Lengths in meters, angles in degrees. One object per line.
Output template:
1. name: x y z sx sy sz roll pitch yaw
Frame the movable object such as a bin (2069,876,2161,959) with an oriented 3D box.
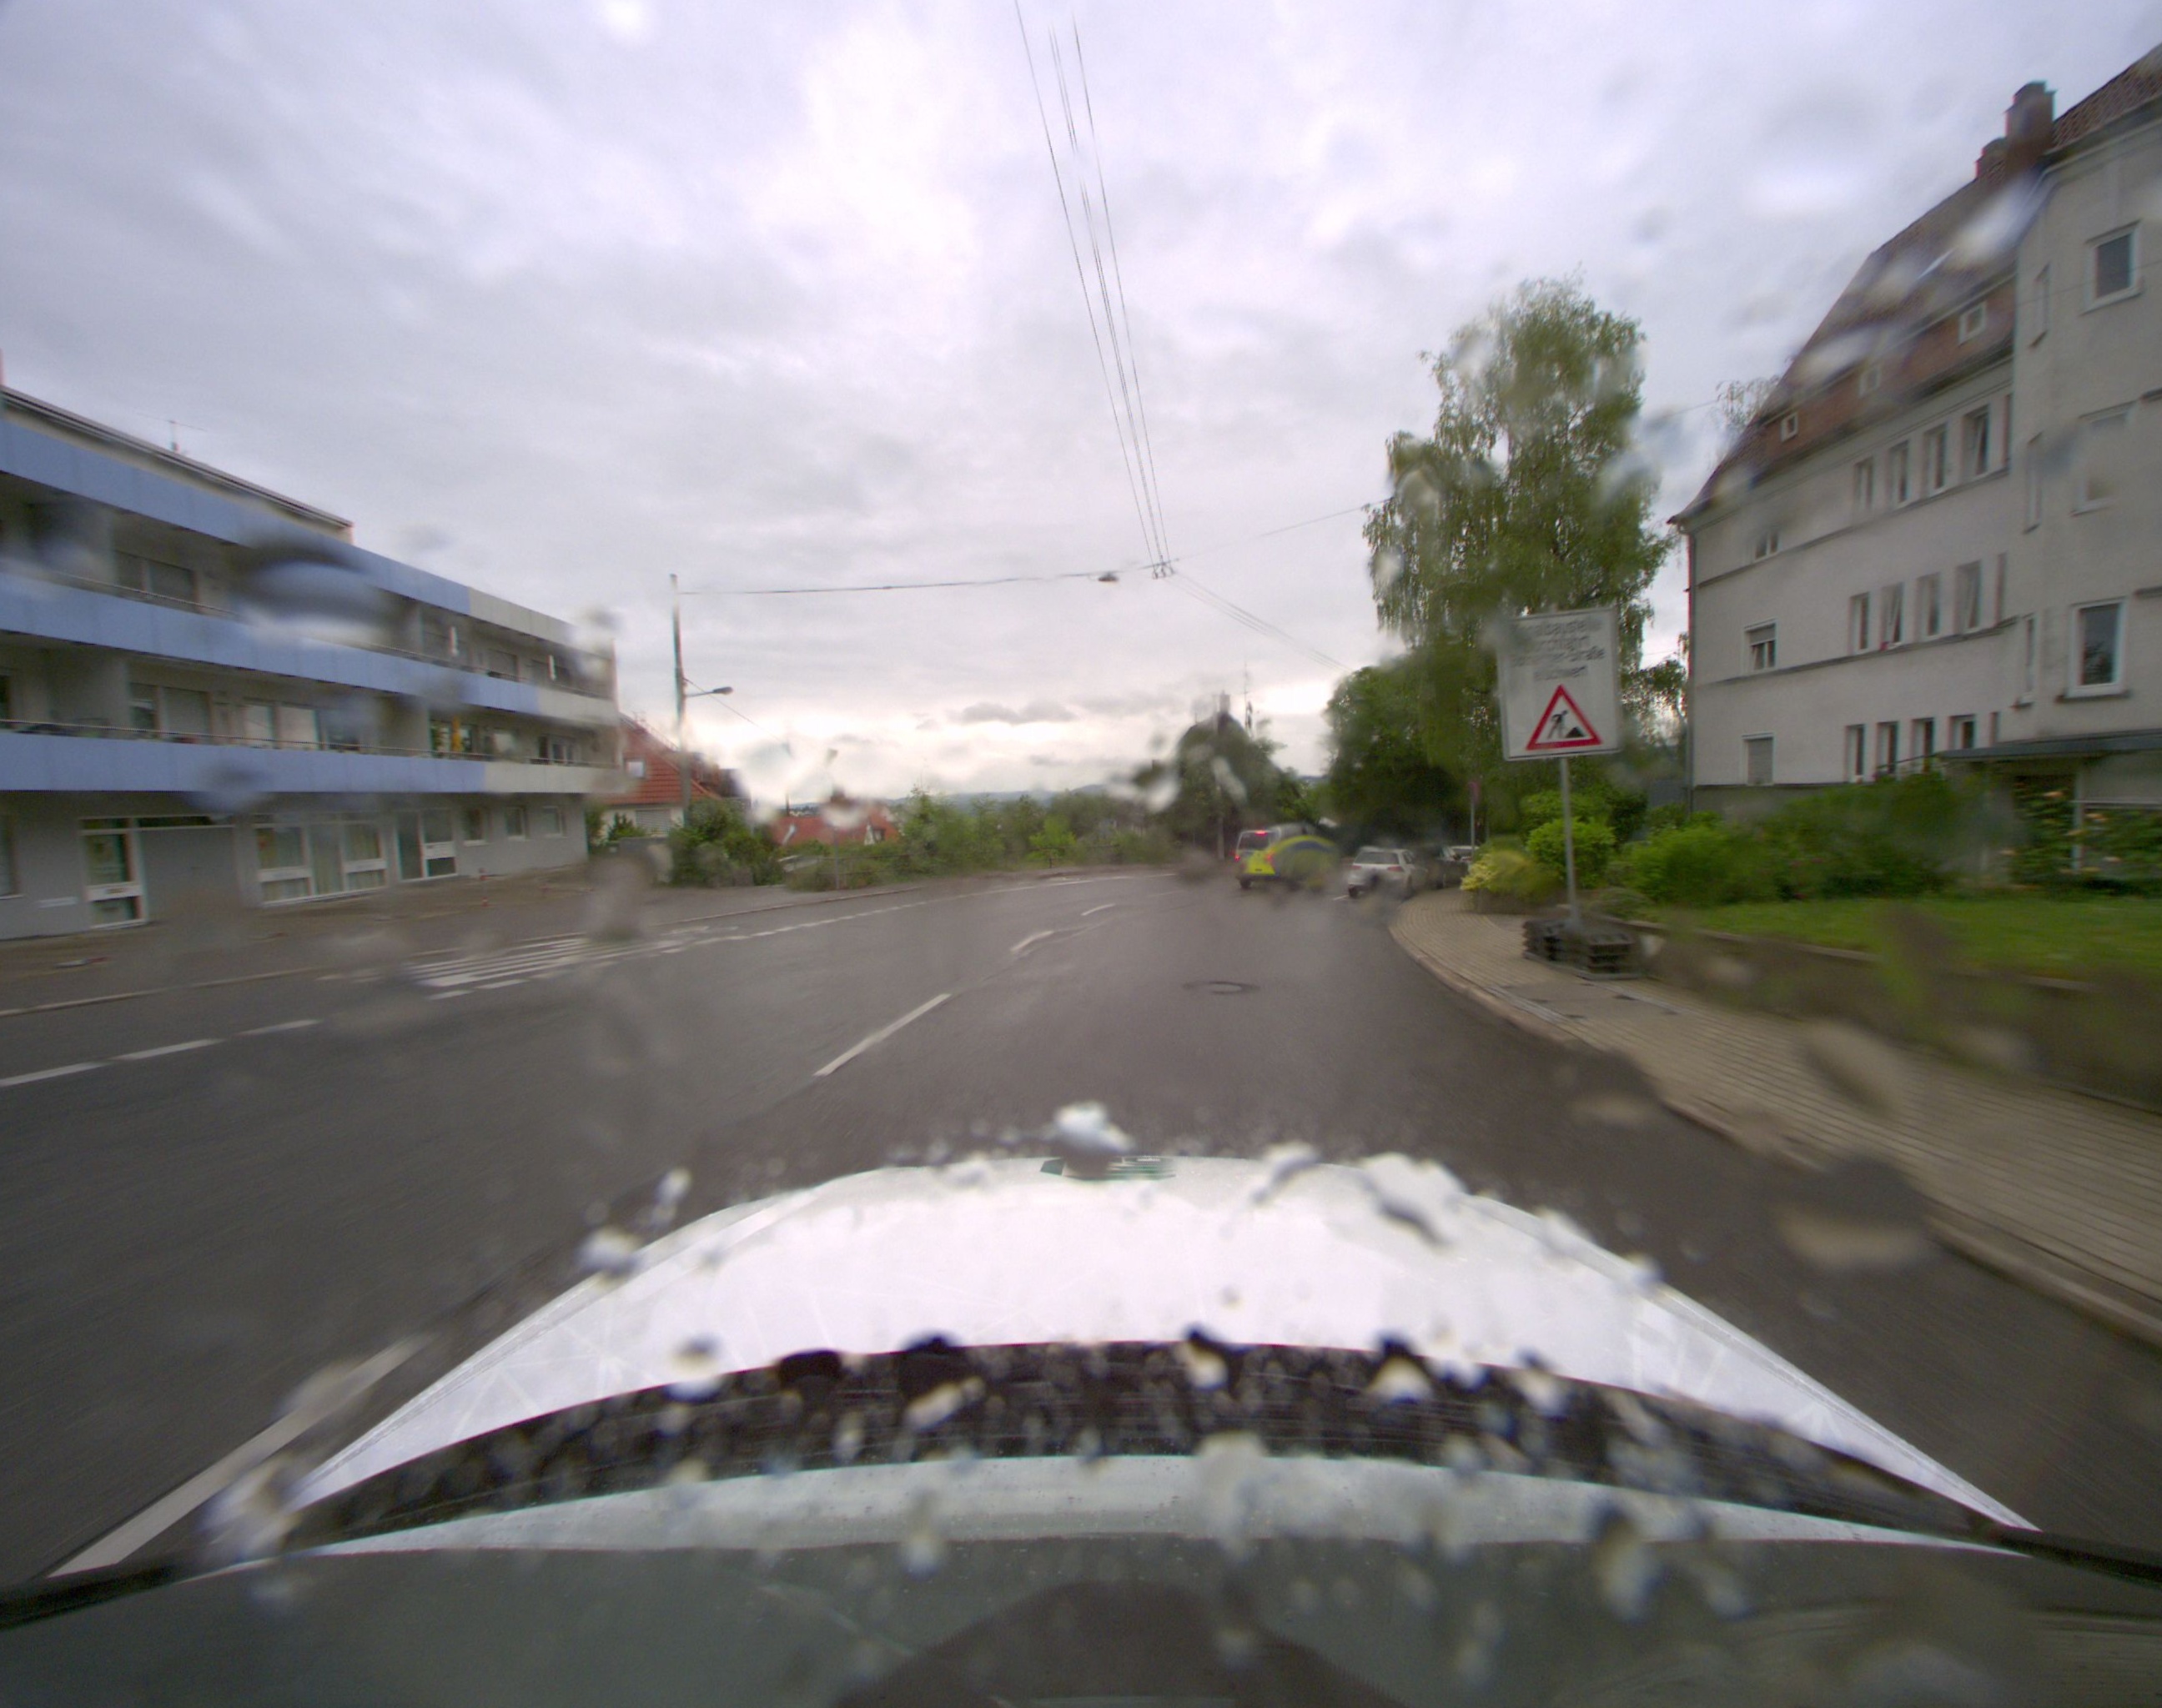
1. movable object such as a bin: 12.547 0.747 9.800 0.480 0.943 0.691 -1 0 7

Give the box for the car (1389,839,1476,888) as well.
1. car: 12.700 0.284 29.295 1.609 1.519 4.354 -1 2 41

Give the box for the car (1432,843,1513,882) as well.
1. car: 15.951 0.322 33.095 4.054 1.464 1.710 -1 1 -44

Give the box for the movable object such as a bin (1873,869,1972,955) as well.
1. movable object such as a bin: 10.457 0.702 10.142 0.527 1.013 0.691 -1 0 7

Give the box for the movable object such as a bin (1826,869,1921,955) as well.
1. movable object such as a bin: 9.805 0.706 10.094 0.527 1.013 0.691 -1 0 7

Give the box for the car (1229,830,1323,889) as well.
1. car: 6.860 0.142 28.287 1.974 1.893 4.599 -1 1 29

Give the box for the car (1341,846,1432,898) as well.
1. car: 9.543 0.494 25.222 1.772 1.446 4.132 -1 1 33

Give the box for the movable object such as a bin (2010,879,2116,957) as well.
1. movable object such as a bin: 11.983 0.764 9.955 0.480 0.898 0.691 -1 0 7

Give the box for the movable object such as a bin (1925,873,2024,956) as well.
1. movable object such as a bin: 10.984 0.727 10.036 0.480 0.970 0.691 -1 0 7
